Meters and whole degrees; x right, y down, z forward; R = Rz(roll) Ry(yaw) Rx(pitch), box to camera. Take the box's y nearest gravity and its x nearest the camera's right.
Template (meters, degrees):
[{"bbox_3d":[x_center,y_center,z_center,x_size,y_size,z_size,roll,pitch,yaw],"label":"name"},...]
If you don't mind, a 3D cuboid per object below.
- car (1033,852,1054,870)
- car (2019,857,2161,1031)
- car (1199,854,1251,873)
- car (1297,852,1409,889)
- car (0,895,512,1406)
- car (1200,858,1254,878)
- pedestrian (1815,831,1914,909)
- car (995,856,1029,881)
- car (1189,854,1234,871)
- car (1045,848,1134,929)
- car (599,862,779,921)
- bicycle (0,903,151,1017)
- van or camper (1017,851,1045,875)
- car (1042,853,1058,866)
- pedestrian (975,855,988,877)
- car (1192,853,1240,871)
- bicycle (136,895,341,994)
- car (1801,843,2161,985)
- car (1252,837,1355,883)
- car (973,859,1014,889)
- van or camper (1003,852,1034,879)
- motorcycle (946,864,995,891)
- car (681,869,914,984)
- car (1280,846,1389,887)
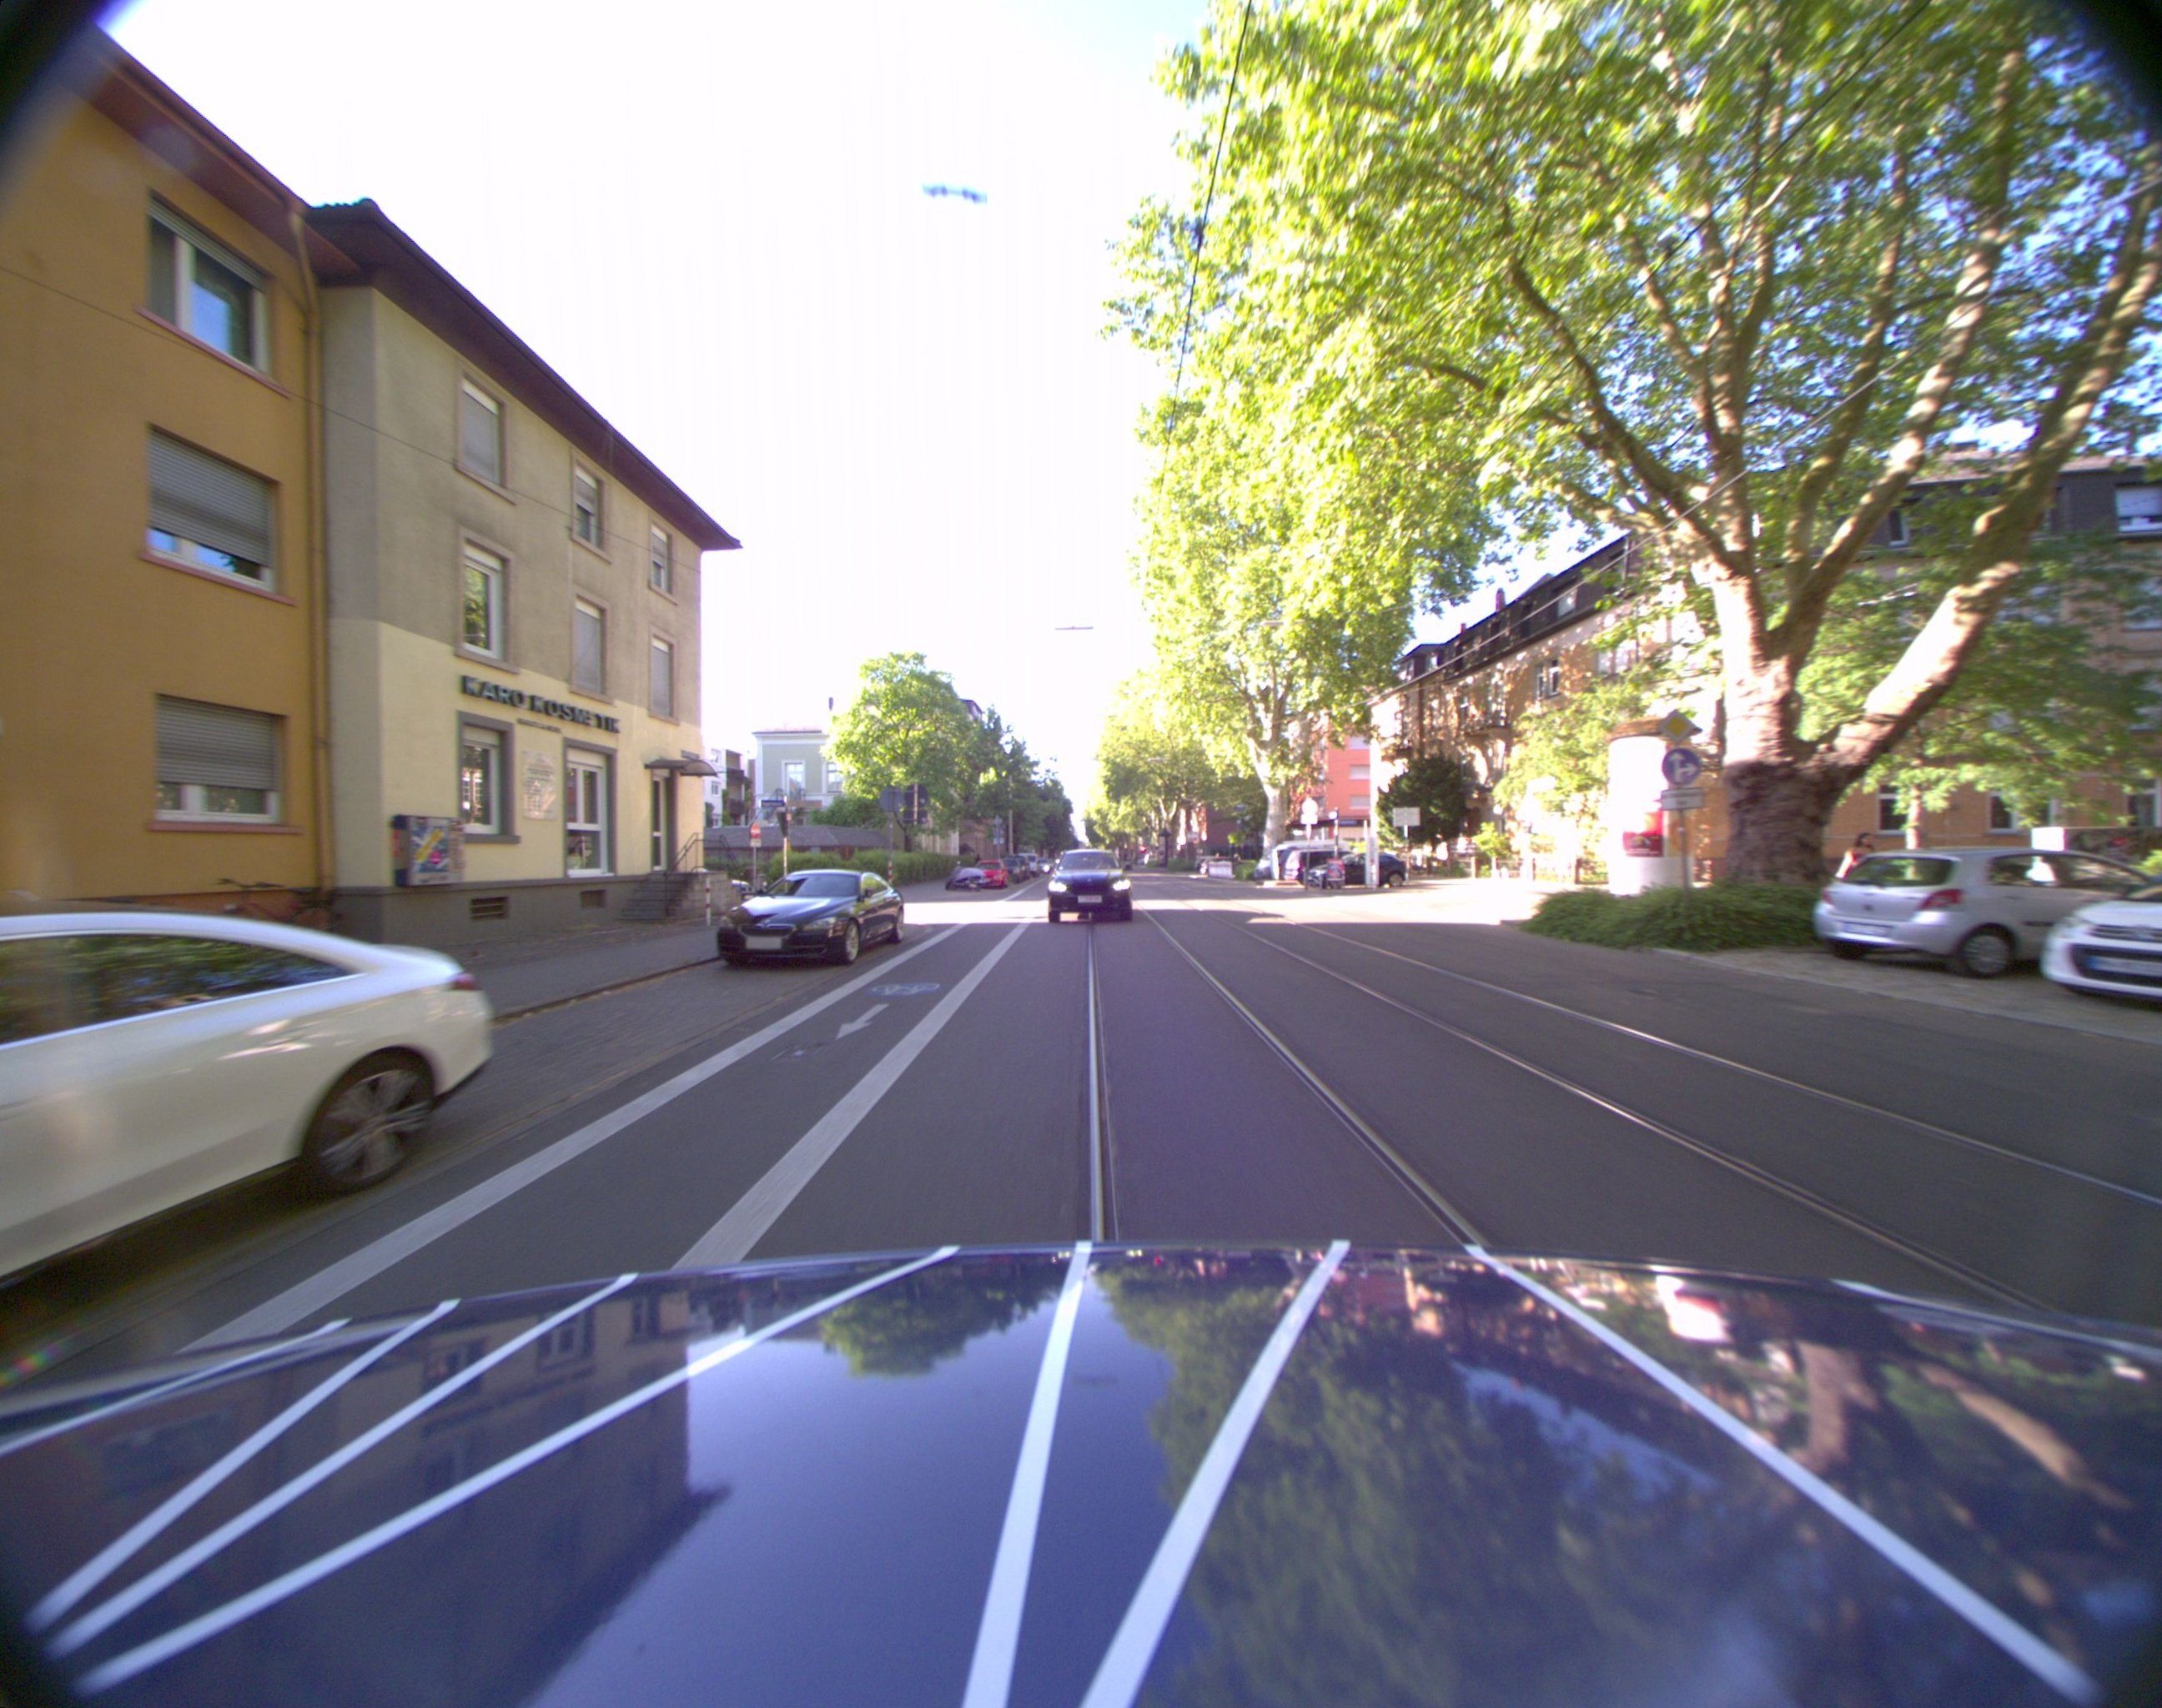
[{"bbox_3d":[-3.831,0.690,78.170,1.815,1.702,4.372,1,0,0],"label":"car"},{"bbox_3d":[11.258,0.766,6.901,3.693,1.477,1.701,-1,1,-6],"label":"car"},{"bbox_3d":[12.185,0.836,64.473,3.966,1.506,1.810,-1,0,-1],"label":"car"},{"bbox_3d":[11.832,0.707,33.228,4.170,1.506,1.925,-1,0,-1],"label":"car"},{"bbox_3d":[-4.485,1.023,2.225,1.998,1.485,4.740,1,0,1],"label":"car"},{"bbox_3d":[11.699,1.103,61.089,3.966,1.506,1.810,-1,0,-1],"label":"car"},{"bbox_3d":[16.422,0.332,15.969,1.093,1.568,1.028,-1,1,19],"label":"pedestrian"},{"bbox_3d":[-4.288,0.883,47.773,1.694,1.478,4.143,1,0,0],"label":"car"},{"bbox_3d":[12.299,0.791,71.839,3.966,1.506,1.810,-1,0,-1],"label":"car"},{"bbox_3d":[0.215,0.750,19.147,1.924,1.741,4.806,-1,0,1],"label":"car"},{"bbox_3d":[-11.699,1.117,22.820,4.458,1.629,1.904,-1,-2,5],"label":"car"},{"bbox_3d":[-10.388,1.038,7.357,0.427,0.991,1.858,-1,0,1],"label":"bicycle"},{"bbox_3d":[-4.075,0.704,62.490,1.882,1.873,4.922,1,0,0],"label":"van or camper"},{"bbox_3d":[-3.765,0.667,92.545,1.781,1.490,4.372,1,0,0],"label":"car"},{"bbox_3d":[-7.777,0.903,59.423,0.813,1.669,0.885,-1,1,0],"label":"pedestrian"},{"bbox_3d":[12.217,0.723,68.934,3.966,1.506,1.810,-1,0,-1],"label":"car"},{"bbox_3d":[-10.329,1.068,9.428,0.427,0.991,1.858,-1,0,1],"label":"bicycle"},{"bbox_3d":[11.584,0.681,9.341,3.689,1.545,1.704,-1,1,6],"label":"car"},{"bbox_3d":[12.123,0.324,41.691,5.019,2.383,2.028,-1,0,-1],"label":"car"},{"bbox_3d":[-4.409,0.978,38.729,1.607,1.372,3.864,1,0,0],"label":"car"},{"bbox_3d":[-4.298,0.755,52.891,1.694,1.772,4.443,1,0,0],"label":"van or camper"},{"bbox_3d":[-5.088,1.080,35.128,2.071,1.152,0.828,2,1,4],"label":"motorcycle"},{"bbox_3d":[-4.287,1.017,12.475,1.998,1.372,4.739,1,0,0],"label":"car"},{"bbox_3d":[11.898,0.594,35.879,4.464,1.755,2.028,-1,0,-1],"label":"car"}]
